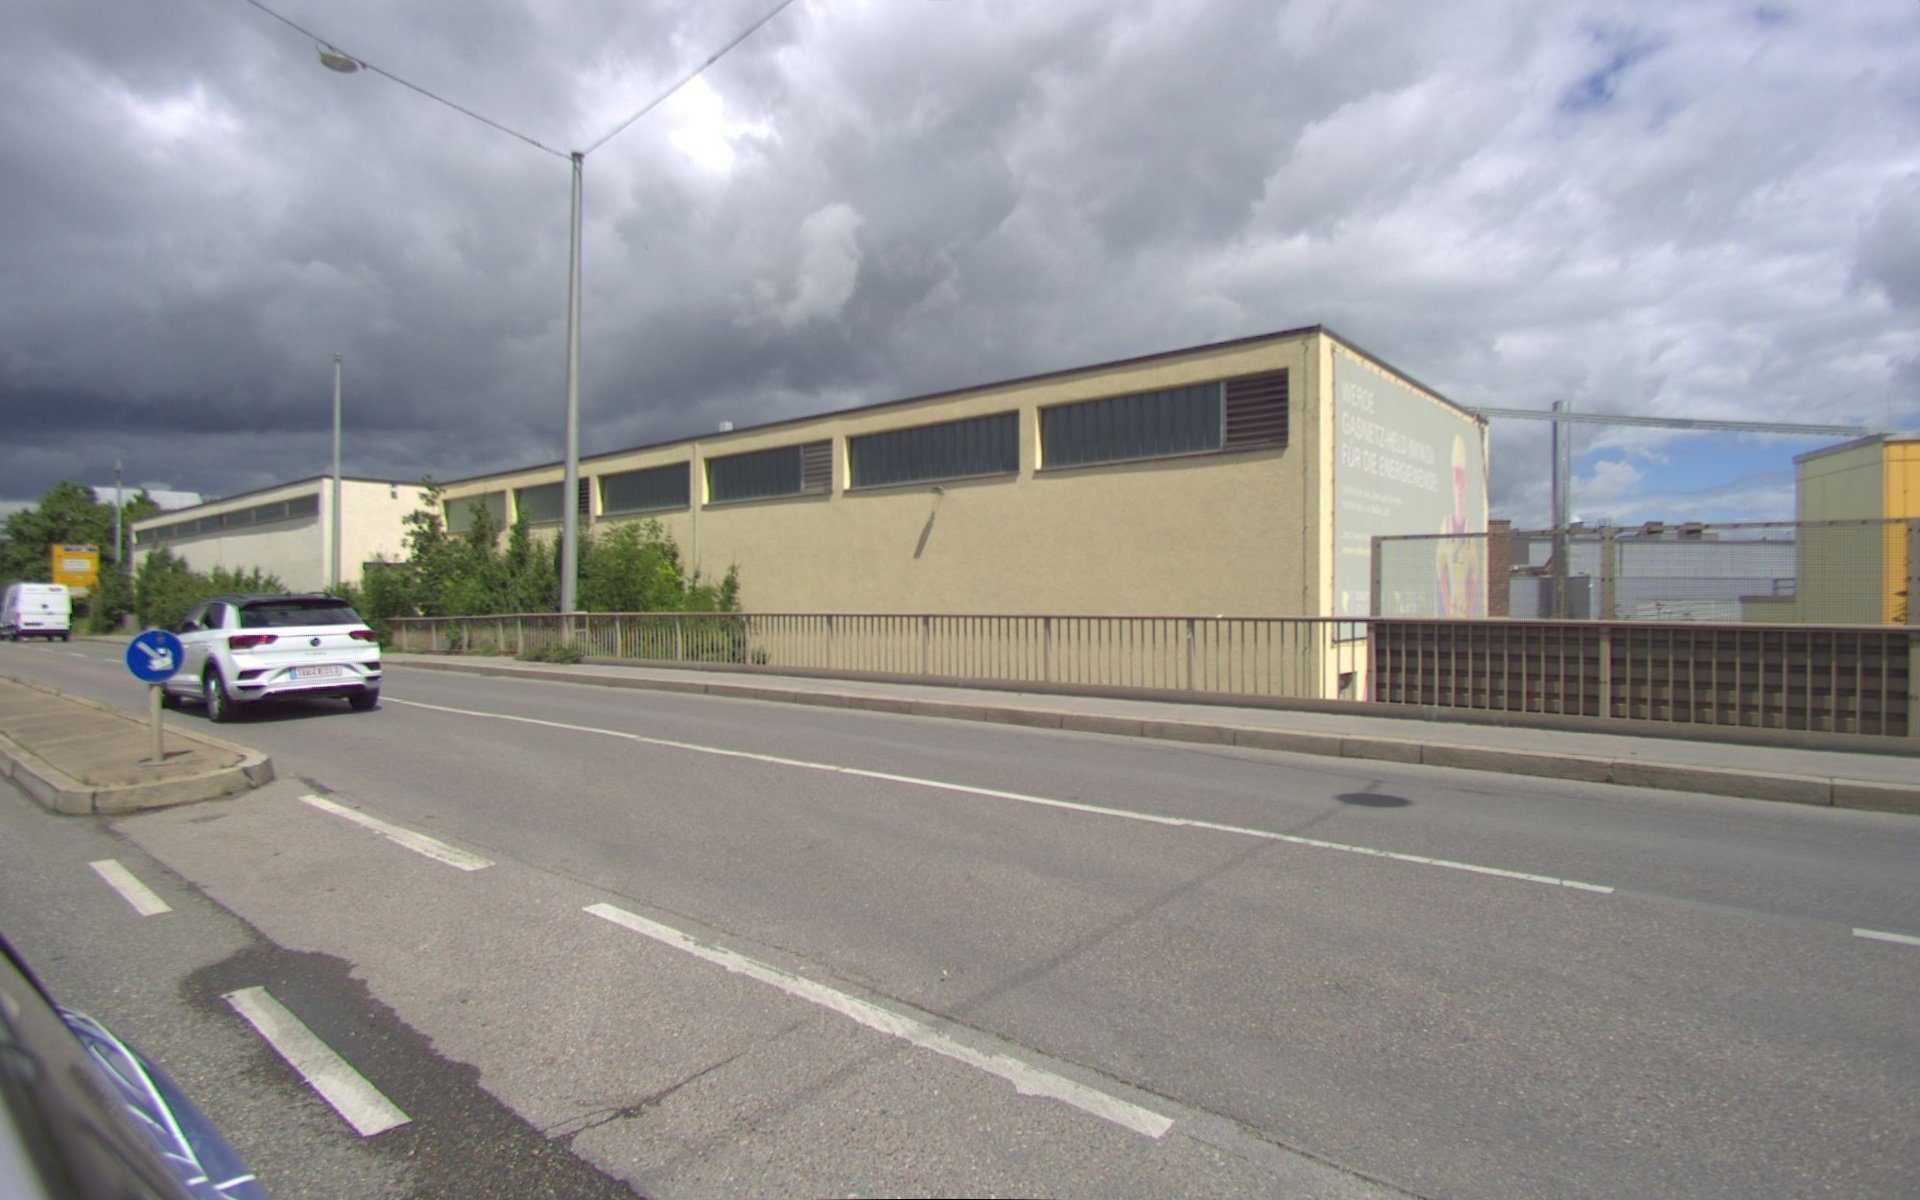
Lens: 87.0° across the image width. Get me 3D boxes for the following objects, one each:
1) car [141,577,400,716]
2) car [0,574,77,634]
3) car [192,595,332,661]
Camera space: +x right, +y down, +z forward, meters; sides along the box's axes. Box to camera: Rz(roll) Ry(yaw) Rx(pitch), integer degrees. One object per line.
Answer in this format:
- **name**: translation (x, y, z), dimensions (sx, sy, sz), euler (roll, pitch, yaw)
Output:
- **car**: translation (-9.257, 0.518, 13.461), dimensions (4.204, 1.572, 1.792), euler (0, 0, 40)
- **car**: translation (-42.632, 0.228, 46.551), dimensions (6.817, 2.591, 2.045), euler (-1, -2, 41)
- **car**: translation (-15.919, 0.602, 22.996), dimensions (4.192, 1.374, 1.620), euler (-1, -1, 41)
